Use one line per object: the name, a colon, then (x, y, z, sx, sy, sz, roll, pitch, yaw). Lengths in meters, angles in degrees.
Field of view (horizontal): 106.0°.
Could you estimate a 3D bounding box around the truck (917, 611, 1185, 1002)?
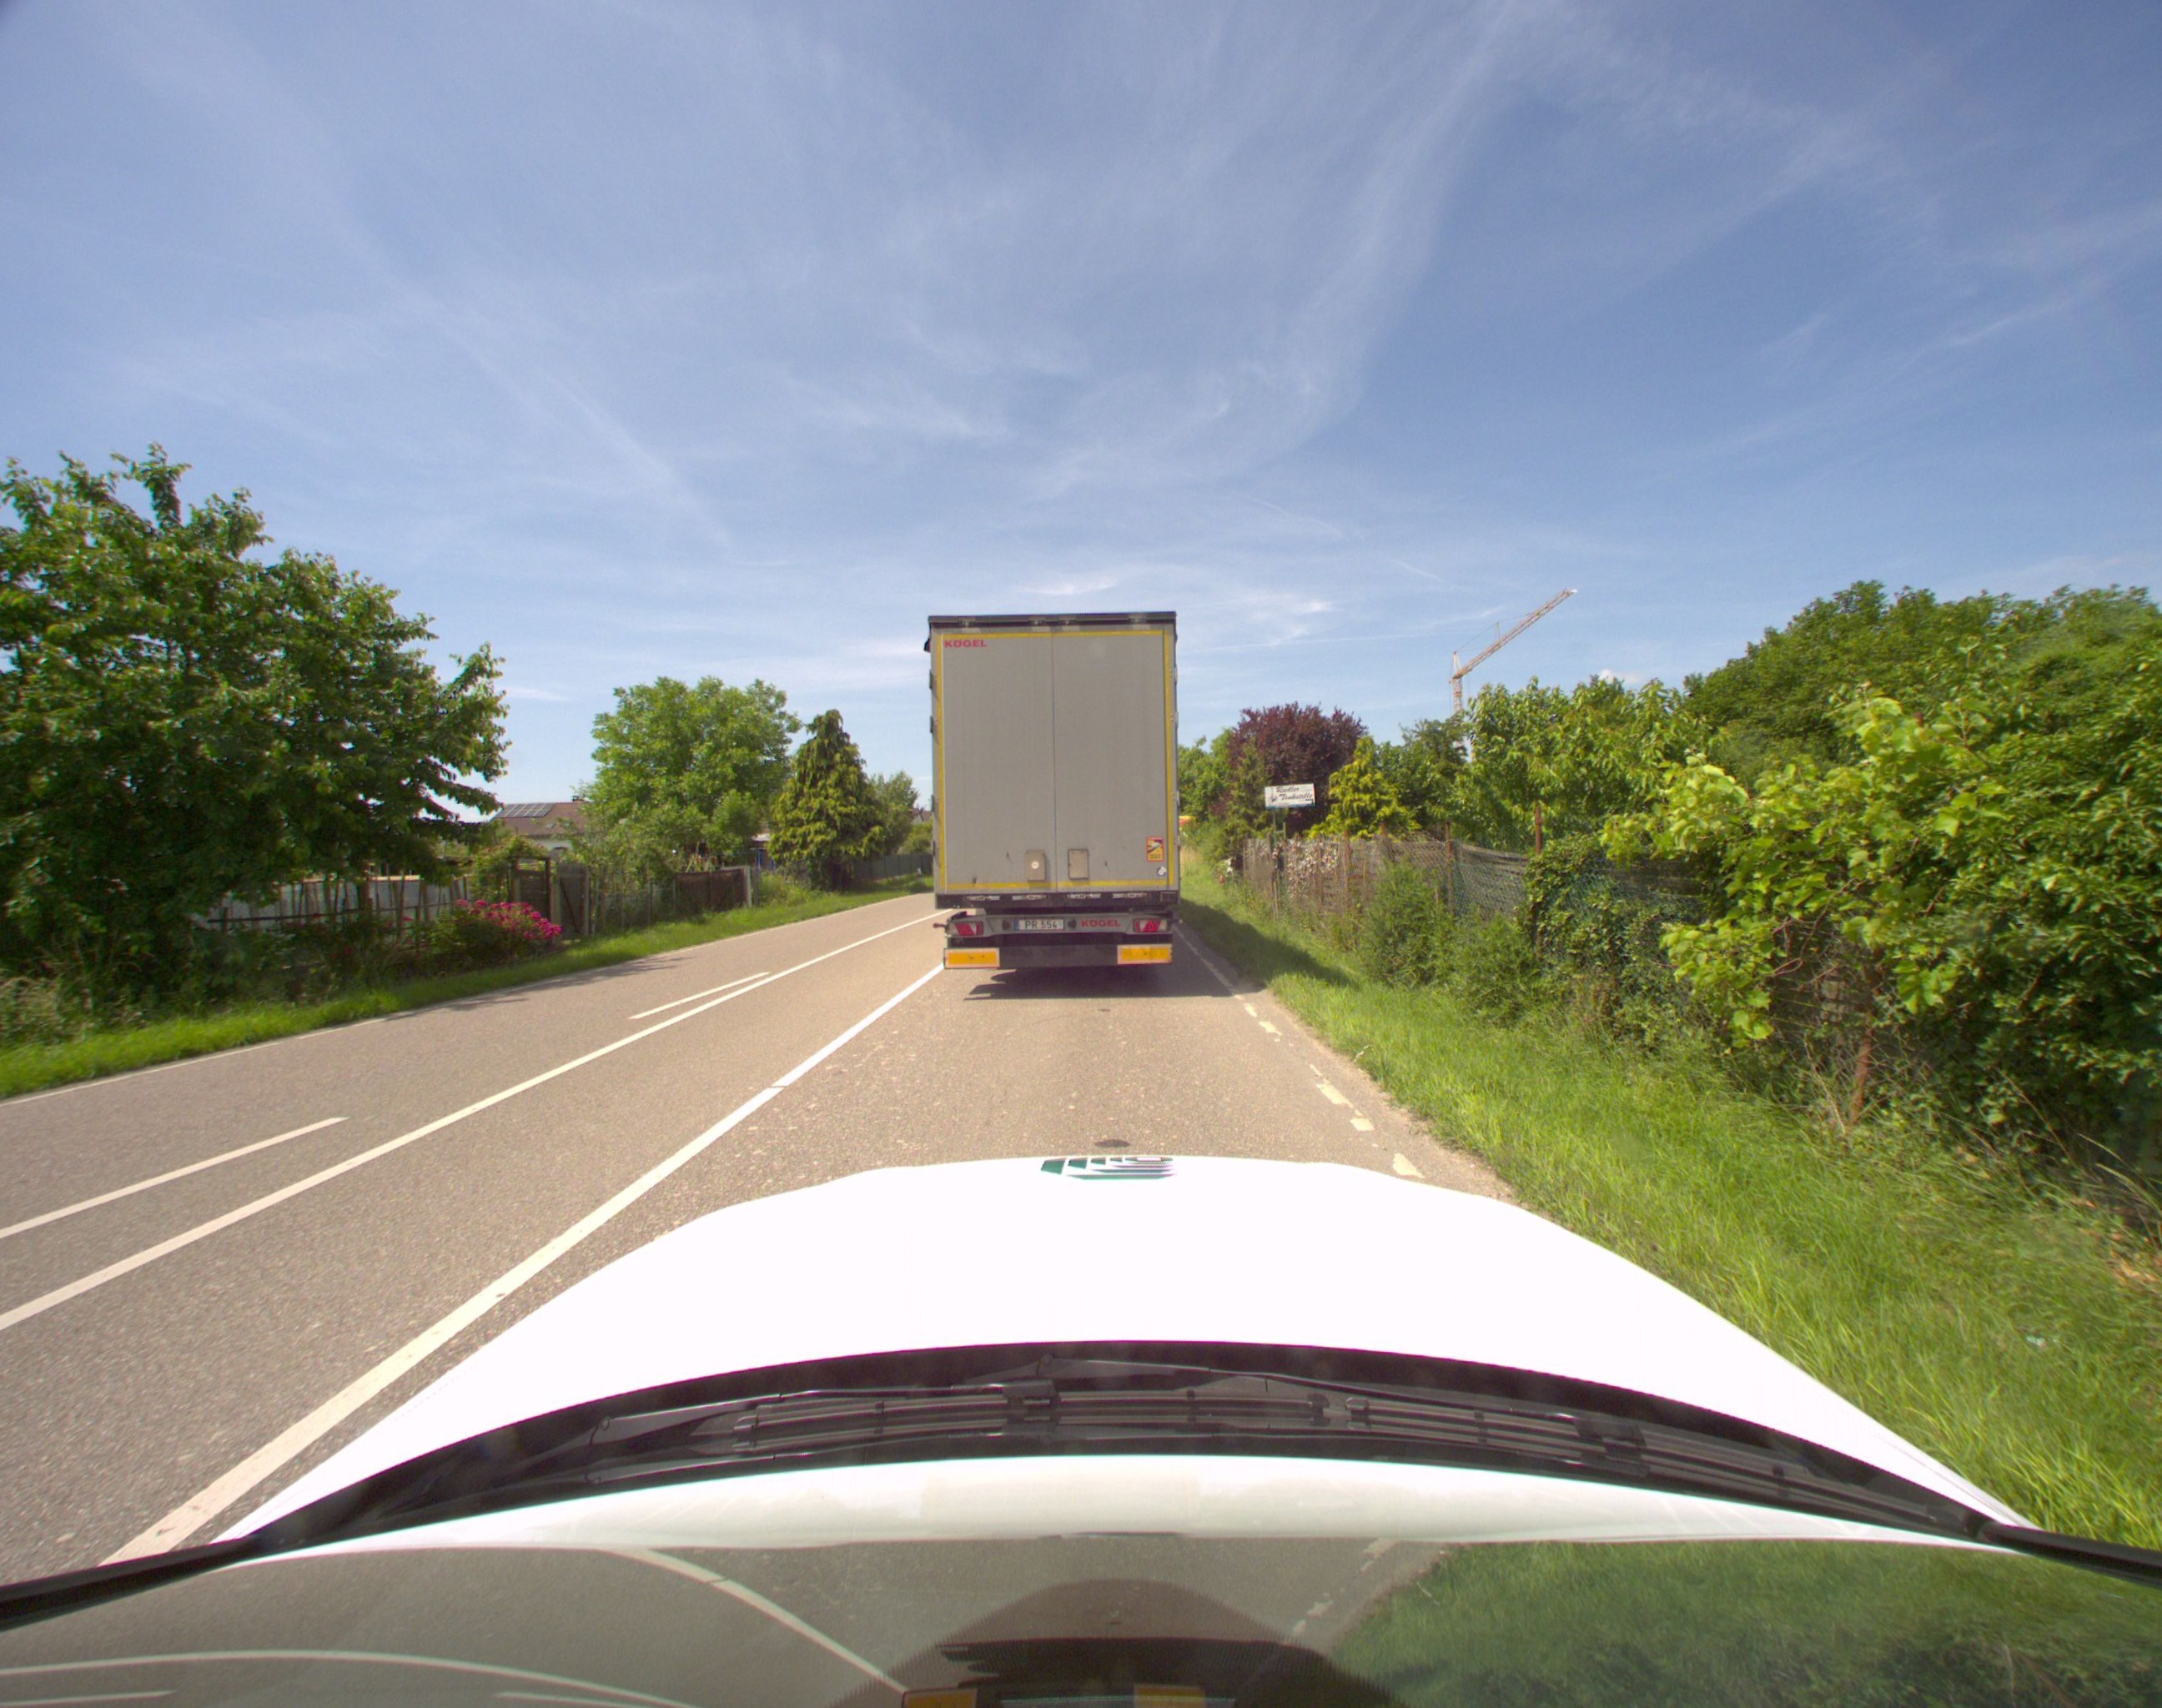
truck: (-0.311, -0.501, 12.649, 2.639, 3.917, 8.823, -1, 0, 0)
